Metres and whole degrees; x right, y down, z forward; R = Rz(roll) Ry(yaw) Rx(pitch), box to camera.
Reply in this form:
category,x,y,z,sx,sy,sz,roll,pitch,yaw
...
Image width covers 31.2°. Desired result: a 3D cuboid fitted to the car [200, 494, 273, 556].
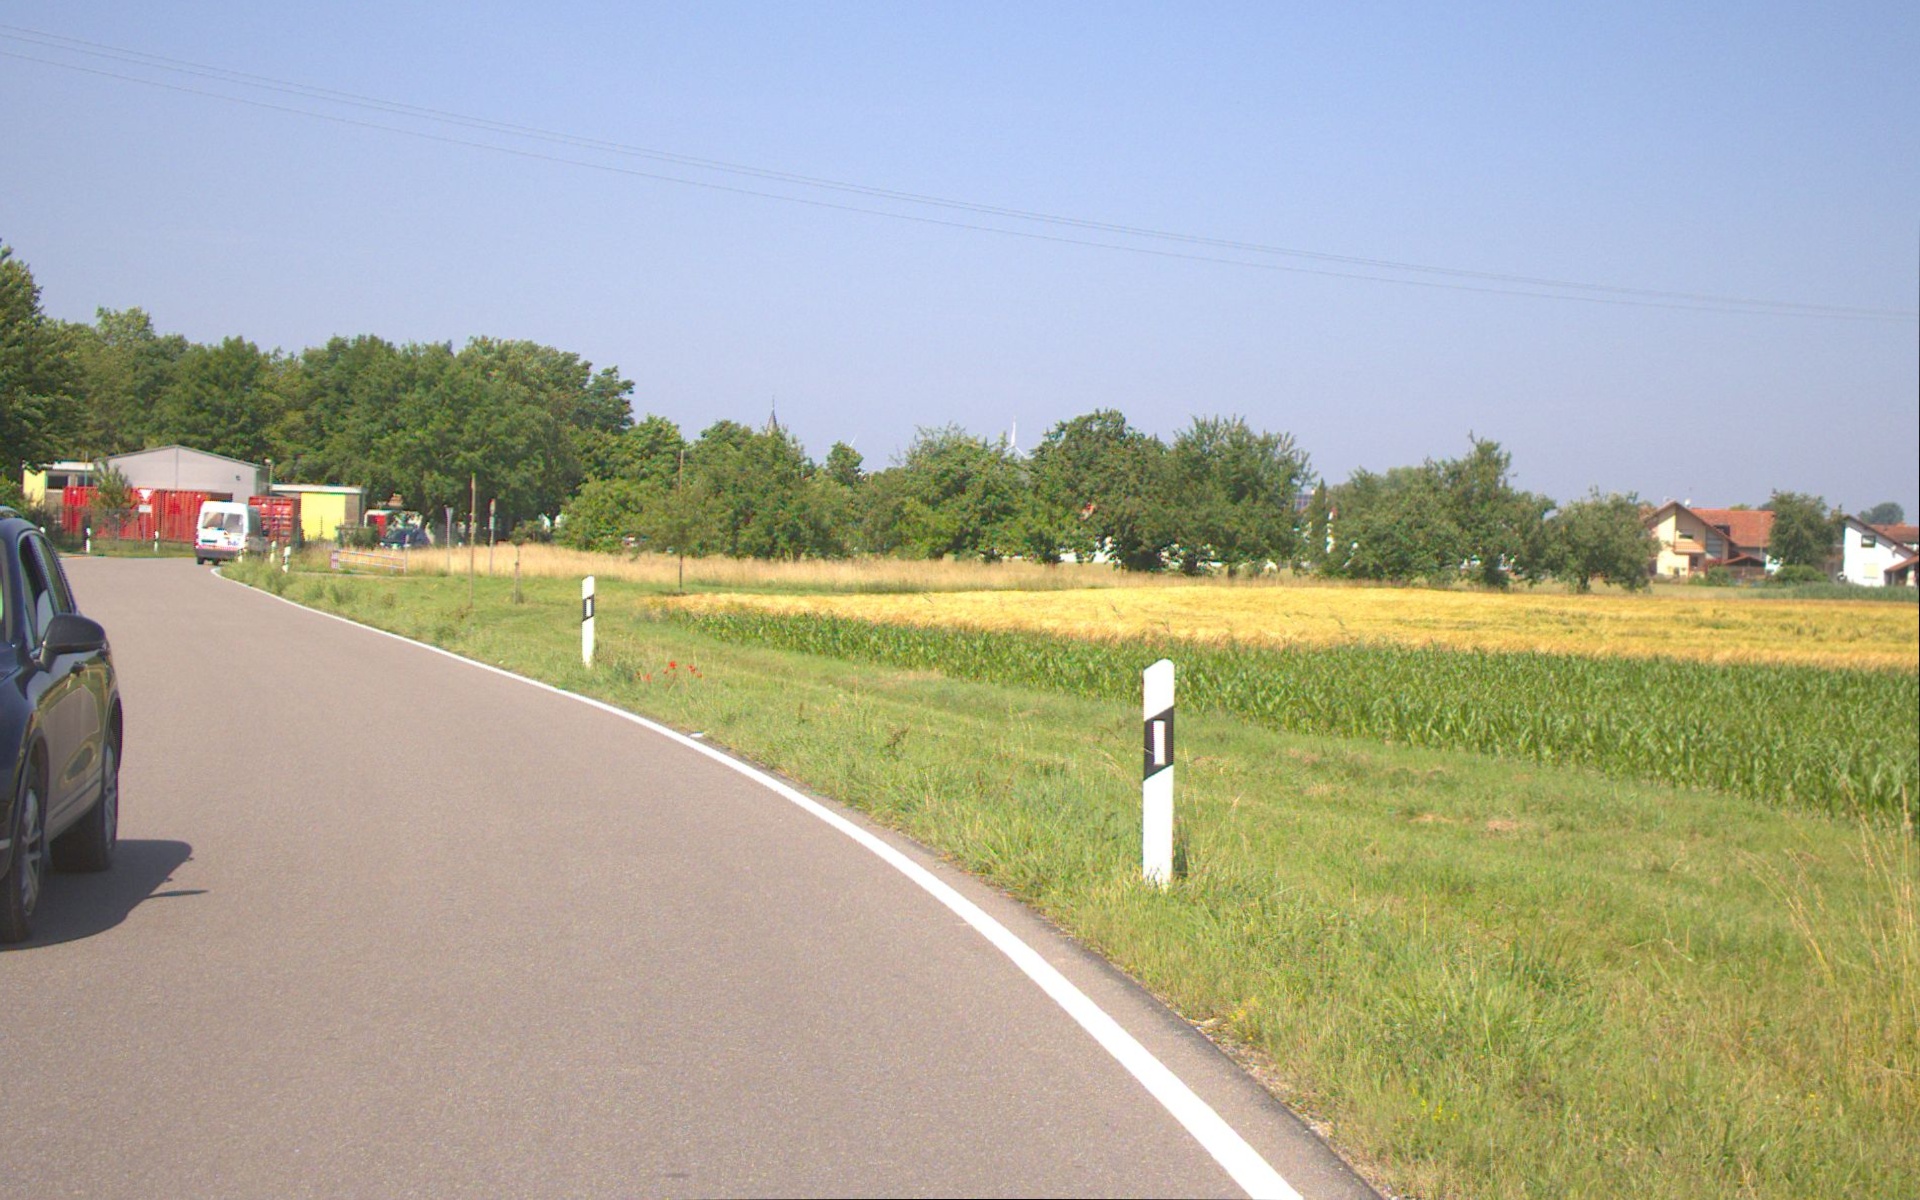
category,x,y,z,sx,sy,sz,roll,pitch,yaw
car,-28.098,-2.907,133.609,1.993,2.258,4.727,2,1,-3

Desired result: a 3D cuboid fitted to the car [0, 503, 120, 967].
category,x,y,z,sx,sy,sz,roll,pitch,yaw
car,-4.662,0.439,14.486,1.886,1.709,4.015,1,1,-10
